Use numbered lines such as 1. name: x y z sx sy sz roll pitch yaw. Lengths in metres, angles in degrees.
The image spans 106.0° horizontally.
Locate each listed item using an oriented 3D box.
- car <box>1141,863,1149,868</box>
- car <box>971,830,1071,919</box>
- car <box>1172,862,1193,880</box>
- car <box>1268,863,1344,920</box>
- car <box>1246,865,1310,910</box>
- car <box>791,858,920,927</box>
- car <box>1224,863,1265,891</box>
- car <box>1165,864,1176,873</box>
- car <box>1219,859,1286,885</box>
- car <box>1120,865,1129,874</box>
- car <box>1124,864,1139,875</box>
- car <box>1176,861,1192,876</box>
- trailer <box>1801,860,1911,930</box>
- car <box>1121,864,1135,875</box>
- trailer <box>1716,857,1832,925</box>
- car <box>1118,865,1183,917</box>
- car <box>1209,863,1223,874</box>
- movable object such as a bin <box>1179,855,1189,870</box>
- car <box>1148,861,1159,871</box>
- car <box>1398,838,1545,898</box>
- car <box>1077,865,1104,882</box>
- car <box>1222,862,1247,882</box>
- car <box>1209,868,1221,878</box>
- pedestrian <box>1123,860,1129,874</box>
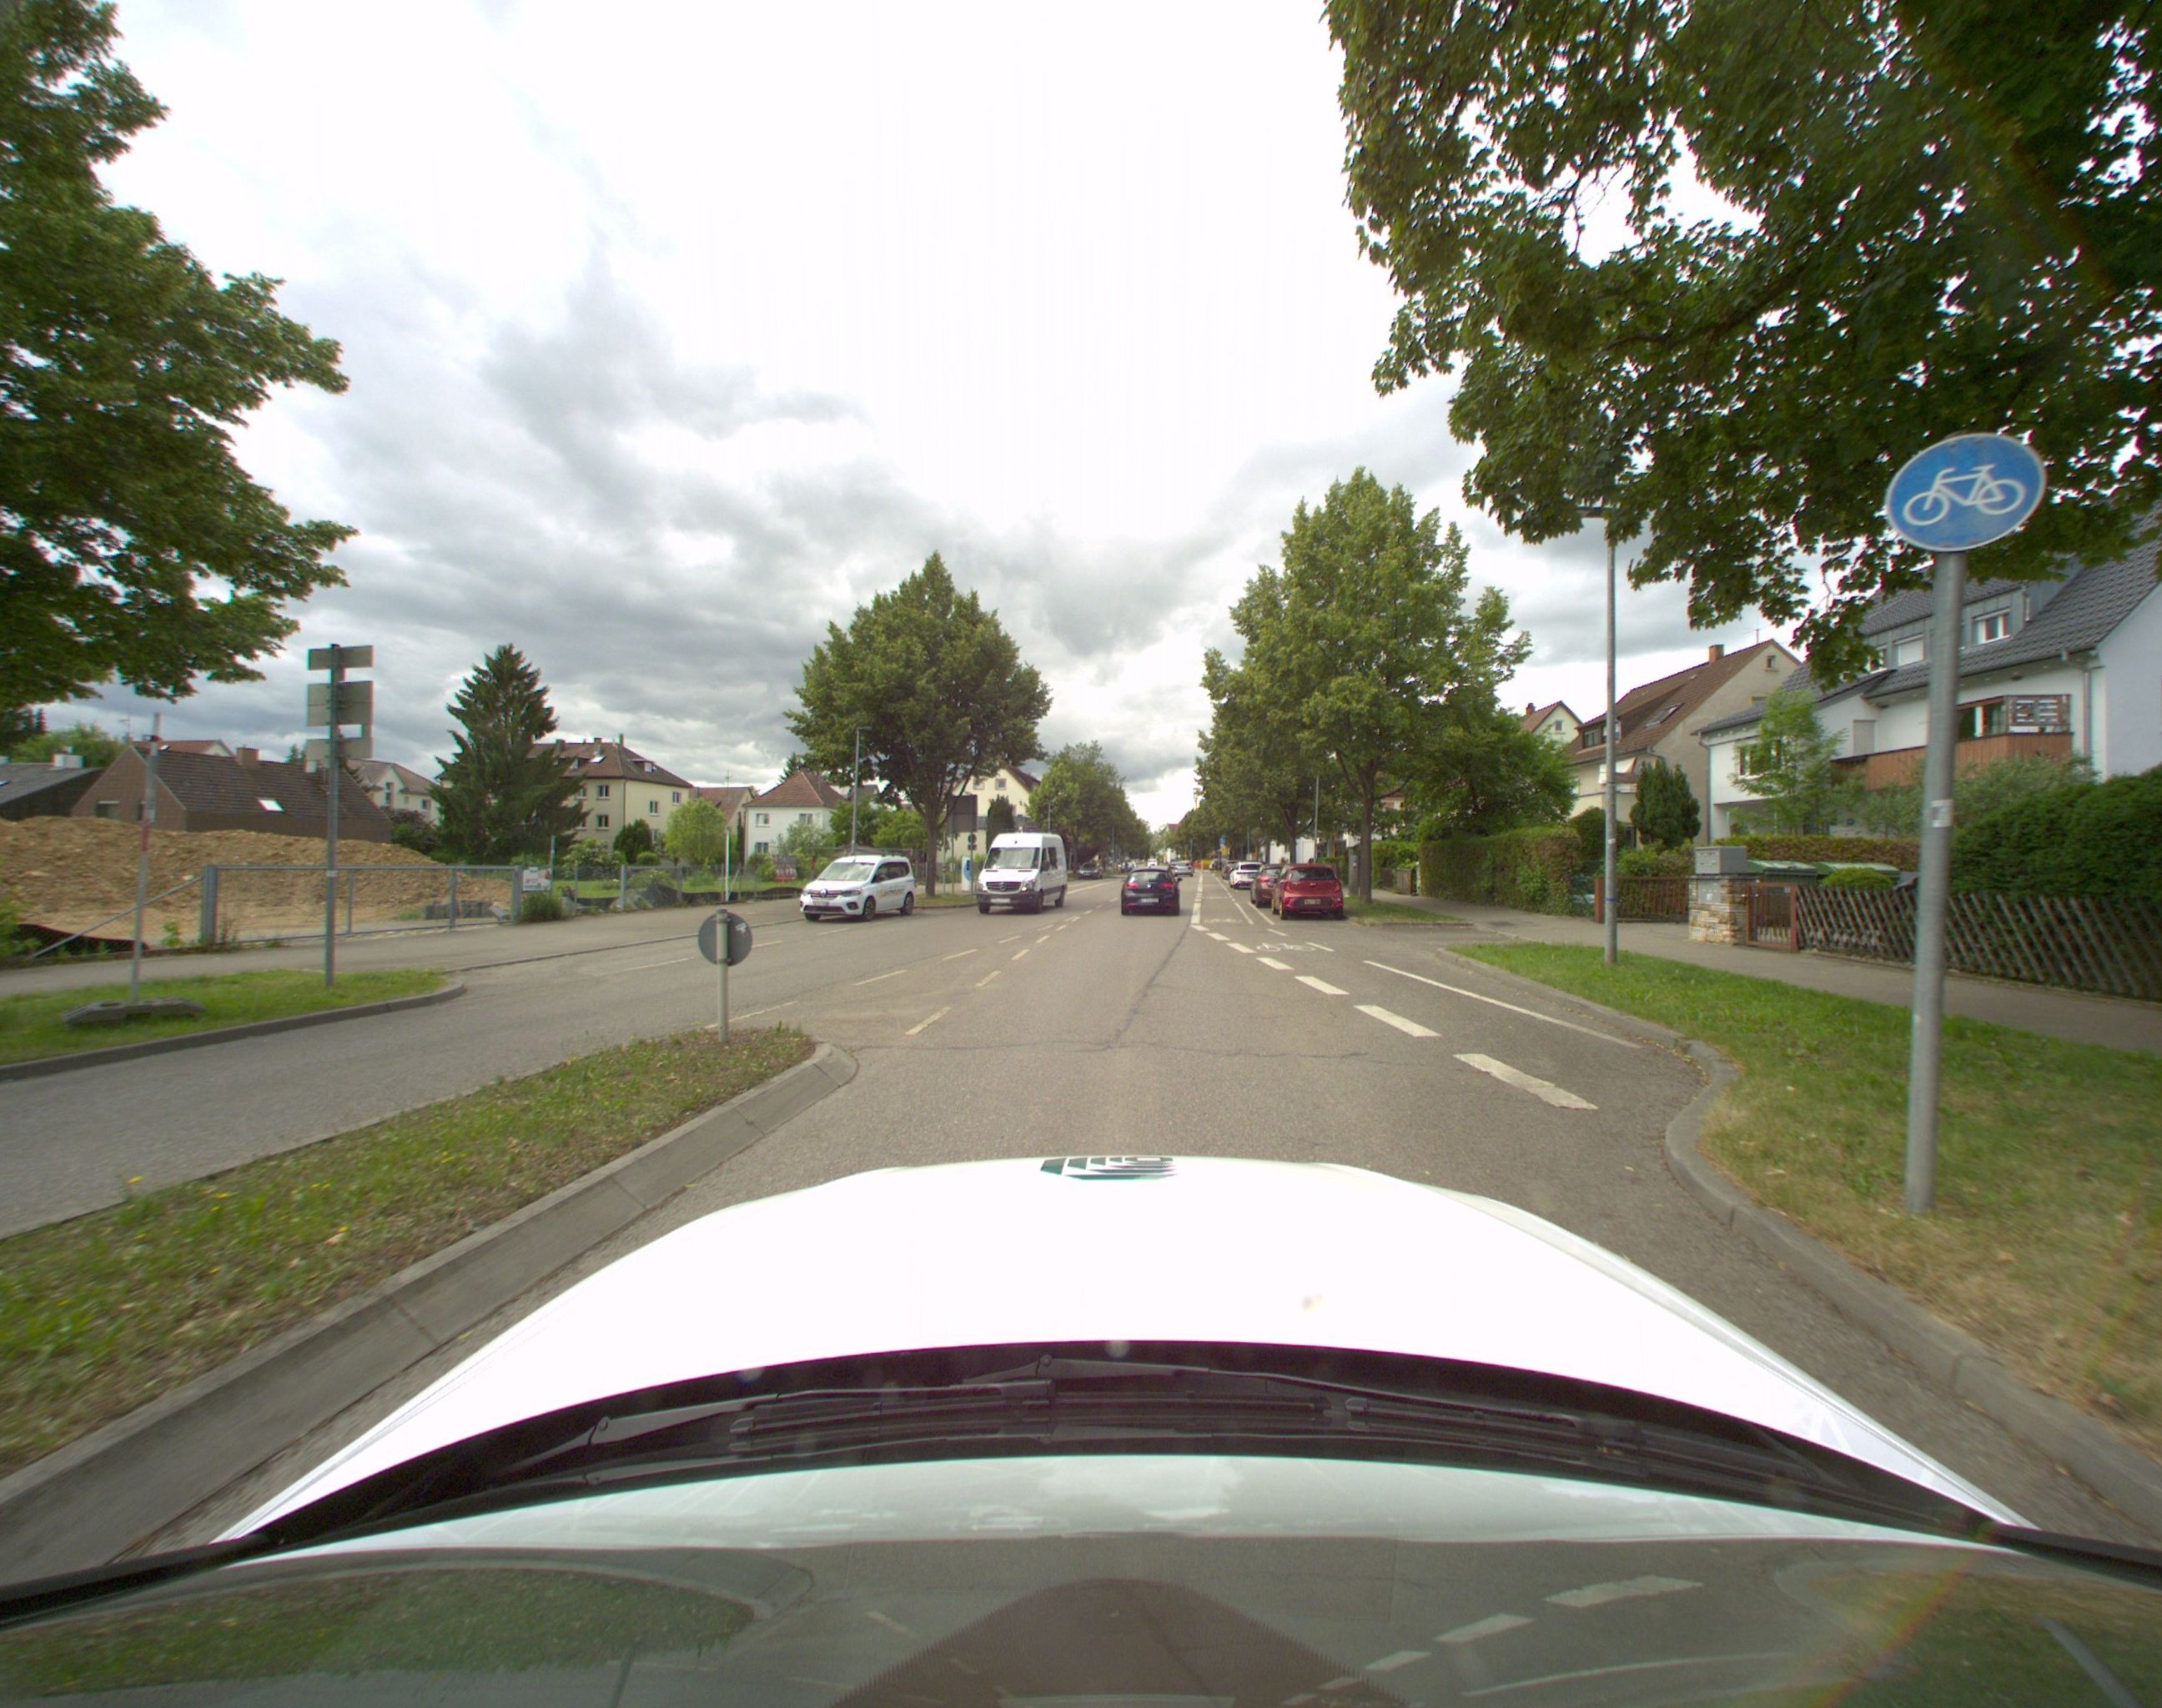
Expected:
1. car: 18.132 3.296 230.058 1.806 1.415 3.688 0 -1 -4
2. car: -1.860 0.636 27.452 2.006 2.674 5.821 0 -1 10
3. car: 10.009 1.668 80.399 1.896 1.685 3.745 -1 -1 6
4. car: 6.189 1.008 22.704 1.556 1.455 3.676 0 -2 8
5. car: 6.794 1.121 28.472 1.644 1.416 4.184 -1 -1 6
6. car: -6.308 1.006 23.363 1.759 1.770 4.563 0 -1 10
7. car: 8.944 1.231 44.829 1.796 1.475 4.820 0 -1 6
8. car: 14.710 2.369 133.842 1.802 1.375 3.697 0 -1 4
9. car: 11.556 1.225 54.963 4.200 1.638 1.694 -1 -1 2
10. car: 10.526 3.675 197.432 2.086 2.175 5.043 0 -1 0
11. car: 7.156 2.181 115.810 1.704 1.406 4.311 -1 -1 9
12. car: 13.653 1.878 107.926 1.898 1.882 4.005 0 -1 5
13. trailer: 17.021 0.882 17.928 1.464 1.419 0.984 2 -1 2
14. car: 6.347 2.053 109.204 1.634 1.420 4.028 -1 -1 7
15. trailer: 15.257 0.793 17.978 1.575 1.375 1.151 2 -1 2
16. car: 2.170 1.085 25.100 1.810 1.438 3.745 -1 -1 6
17. car: 19.154 2.064 115.431 1.696 1.455 4.625 -1 -1 7
18. movable object such as a bin: 18.699 1.535 147.989 1.759 2.574 3.745 0 -1 6
19. car: 14.324 2.349 160.482 1.955 1.830 4.829 0 -1 8
20. car: 17.492 0.610 36.693 5.689 2.592 2.000 0 0 3
21. car: 0.894 1.691 71.702 1.721 1.469 4.312 -1 -1 9
22. car: 12.493 1.416 66.541 1.713 1.580 4.067 0 -1 6
23. car: 20.539 2.897 124.930 1.664 1.462 4.006 -1 -1 5
24. pedestrian: 5.545 1.630 101.268 0.538 1.681 0.753 1 1 16
